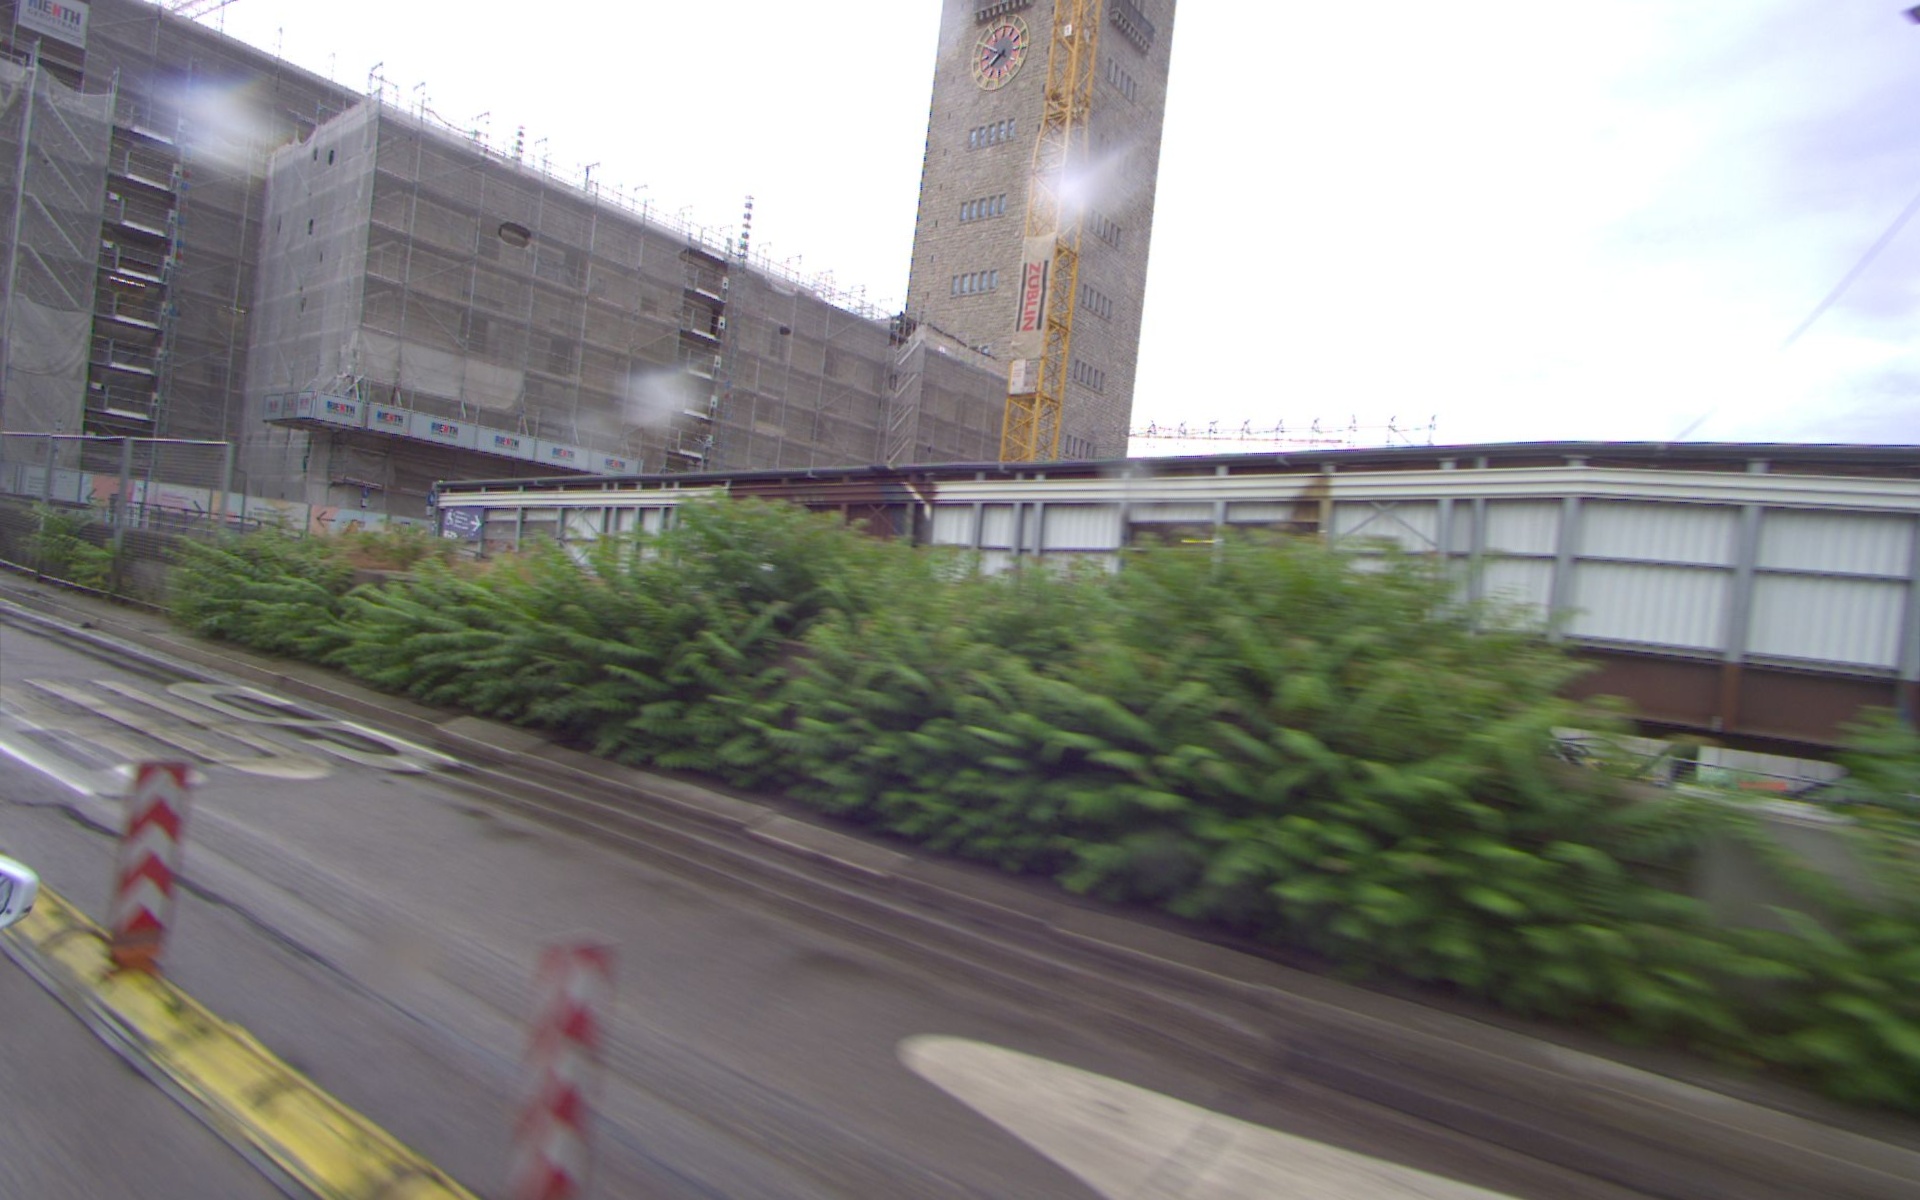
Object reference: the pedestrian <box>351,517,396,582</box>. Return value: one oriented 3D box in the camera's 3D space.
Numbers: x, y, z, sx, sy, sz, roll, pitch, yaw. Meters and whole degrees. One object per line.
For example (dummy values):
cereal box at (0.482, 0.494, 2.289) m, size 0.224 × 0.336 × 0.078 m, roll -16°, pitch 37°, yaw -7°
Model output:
pedestrian at (-19.695, -1.690, 33.769) m, size 0.752 × 2.037 × 0.806 m, roll 8°, pitch -1°, yaw 30°

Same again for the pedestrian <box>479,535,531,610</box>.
pedestrian at (-13.273, -0.798, 29.363) m, size 0.752 × 2.037 × 0.866 m, roll 8°, pitch -1°, yaw 30°

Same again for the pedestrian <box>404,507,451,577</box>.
pedestrian at (-16.616, -1.802, 31.409) m, size 0.752 × 2.037 × 0.779 m, roll 8°, pitch -1°, yaw 30°

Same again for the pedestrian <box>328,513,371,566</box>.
pedestrian at (-20.596, -2.043, 33.951) m, size 0.697 × 1.612 × 0.856 m, roll 8°, pitch -1°, yaw 30°
